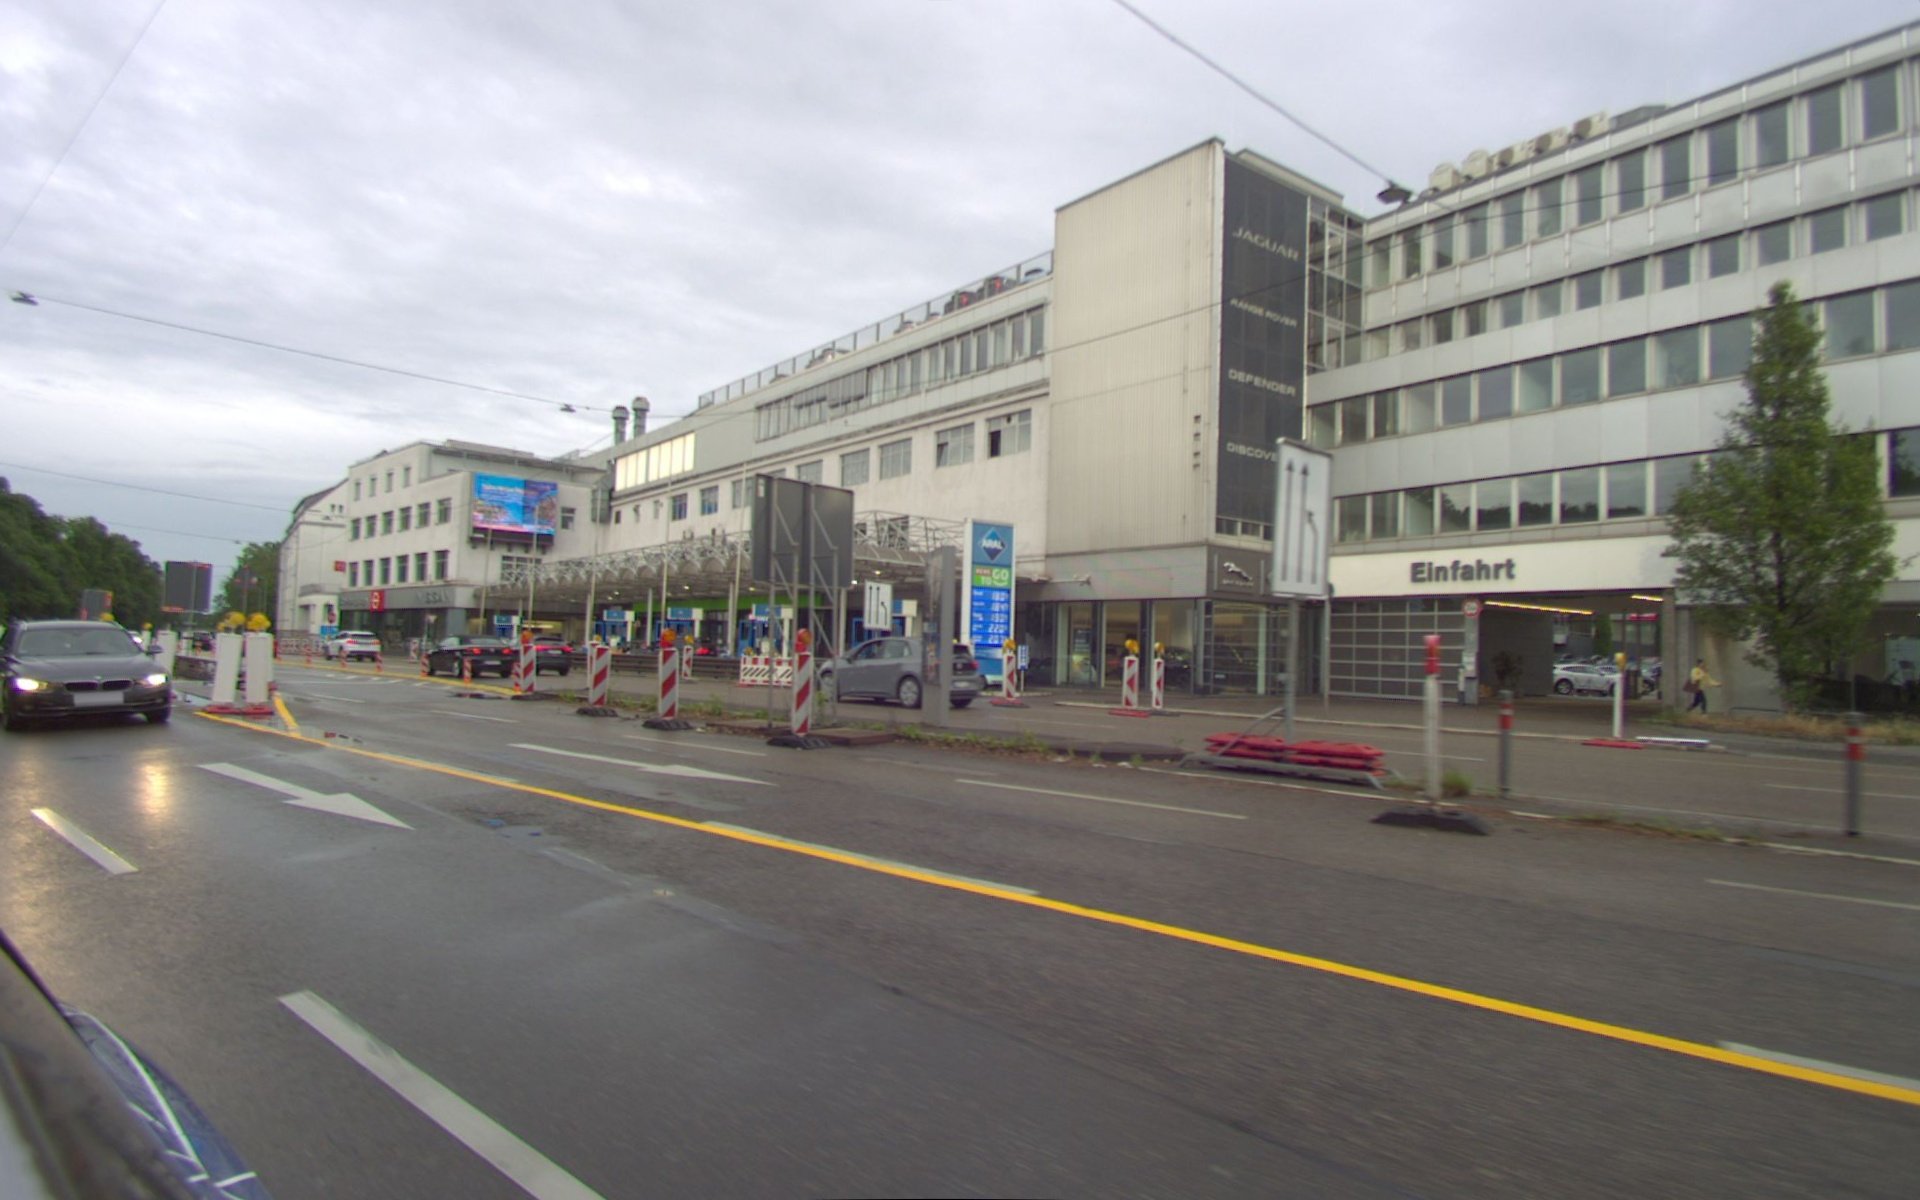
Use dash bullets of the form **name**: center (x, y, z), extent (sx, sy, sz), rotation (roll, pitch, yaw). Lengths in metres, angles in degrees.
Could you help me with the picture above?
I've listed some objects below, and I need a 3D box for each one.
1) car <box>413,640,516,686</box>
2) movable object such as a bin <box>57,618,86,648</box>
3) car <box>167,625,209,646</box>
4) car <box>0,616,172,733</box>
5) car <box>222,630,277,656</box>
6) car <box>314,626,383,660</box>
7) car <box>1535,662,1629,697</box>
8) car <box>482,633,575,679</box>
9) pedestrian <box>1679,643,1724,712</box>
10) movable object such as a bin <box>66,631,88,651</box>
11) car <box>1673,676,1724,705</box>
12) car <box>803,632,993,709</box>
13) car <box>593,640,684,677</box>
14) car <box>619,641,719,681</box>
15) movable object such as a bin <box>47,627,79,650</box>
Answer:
- **car**: center (-16.617, 2.078, 33.860), extent (4.115, 1.364, 1.670), rotation (-1, -5, 44)
- **movable object such as a bin**: center (-91.690, 3.433, 104.448), extent (1.798, 2.935, 3.614), rotation (6, -7, -38)
- **car**: center (-60.696, 2.780, 79.556), extent (4.301, 1.533, 1.937), rotation (-2, -5, 44)
- **car**: center (-13.069, 1.005, 14.682), extent (4.175, 1.461, 1.741), rotation (-1, -3, 41)
- **car**: center (-40.675, 2.462, 57.915), extent (4.290, 1.415, 1.716), rotation (-1, -4, 44)
- **car**: center (-33.966, 2.367, 56.154), extent (4.832, 1.720, 1.957), rotation (-1, -5, 44)
- **car**: center (33.874, 4.335, 55.201), extent (3.961, 1.716, 1.878), rotation (1, -4, 14)
- **car**: center (-16.389, 2.101, 38.355), extent (4.000, 1.525, 1.732), rotation (0, -5, 43)
- **pedestrian**: center (19.043, 1.988, 26.003), extent (0.699, 1.734, 0.666), rotation (2, -4, 11)
- **movable object such as a bin**: center (-95.632, 4.477, 109.667), extent (1.378, 2.060, 4.094), rotation (5, -6, -38)
- **car**: center (48.020, 5.876, 65.792), extent (3.746, 1.702, 1.792), rotation (6, -5, -40)
- **car**: center (-1.482, 1.544, 22.875), extent (4.301, 1.570, 1.788), rotation (-1, -4, 43)
- **car**: center (-17.717, 3.252, 55.868), extent (4.378, 1.784, 1.969), rotation (3, -4, -5)
- **car**: center (-14.403, 3.049, 50.318), extent (4.411, 1.692, 2.016), rotation (3, -4, -5)
- **movable object such as a bin**: center (-88.438, 3.795, 99.781), extent (1.968, 2.128, 3.857), rotation (5, -6, -38)
